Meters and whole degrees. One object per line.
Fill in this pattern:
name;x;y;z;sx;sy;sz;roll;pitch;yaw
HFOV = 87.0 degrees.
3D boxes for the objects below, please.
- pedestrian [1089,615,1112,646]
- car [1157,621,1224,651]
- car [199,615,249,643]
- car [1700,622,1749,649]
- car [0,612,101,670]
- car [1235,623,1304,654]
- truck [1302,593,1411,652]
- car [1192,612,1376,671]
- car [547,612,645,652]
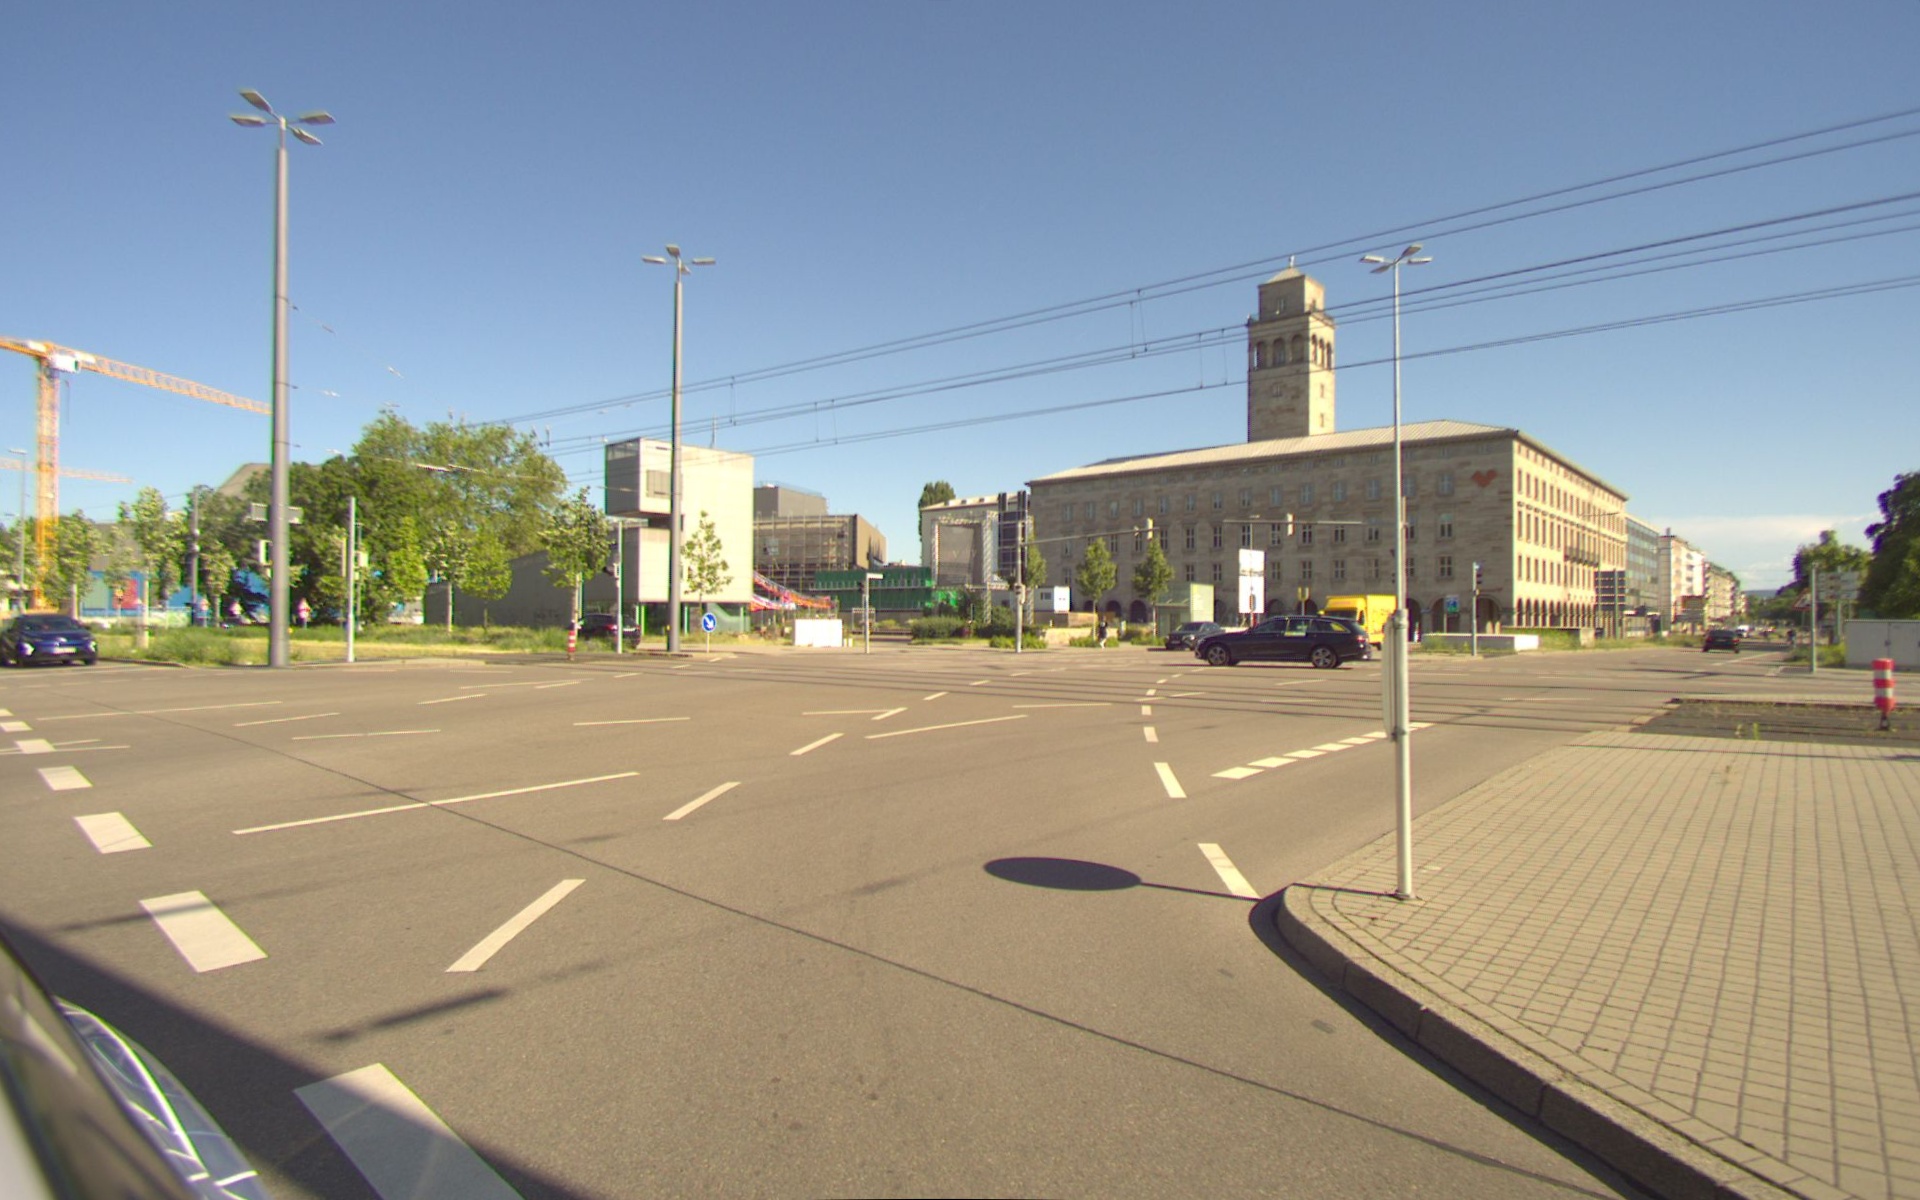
pedestrian;7.761;1.682;55.920;0.942;1.698;1.186;-2;-1;25
car;12.865;1.980;56.411;1.903;1.551;3.943;-1;-1;43
car;-52.403;2.031;72.058;3.994;1.970;1.852;-1;-2;38
car;47.463;2.175;62.794;2.000;1.613;3.943;-1;-2;43
car;-27.643;1.186;30.485;4.080;1.600;1.754;-1;0;36
car;16.233;1.993;53.012;1.903;1.551;3.943;-1;-1;43
truck;20.402;1.131;51.809;2.463;2.814;7.920;-1;-1;43
car;9.294;1.150;29.130;4.807;1.573;1.981;-1;-1;28
car;-16.481;1.412;45.725;4.552;1.720;1.975;-1;-1;37
